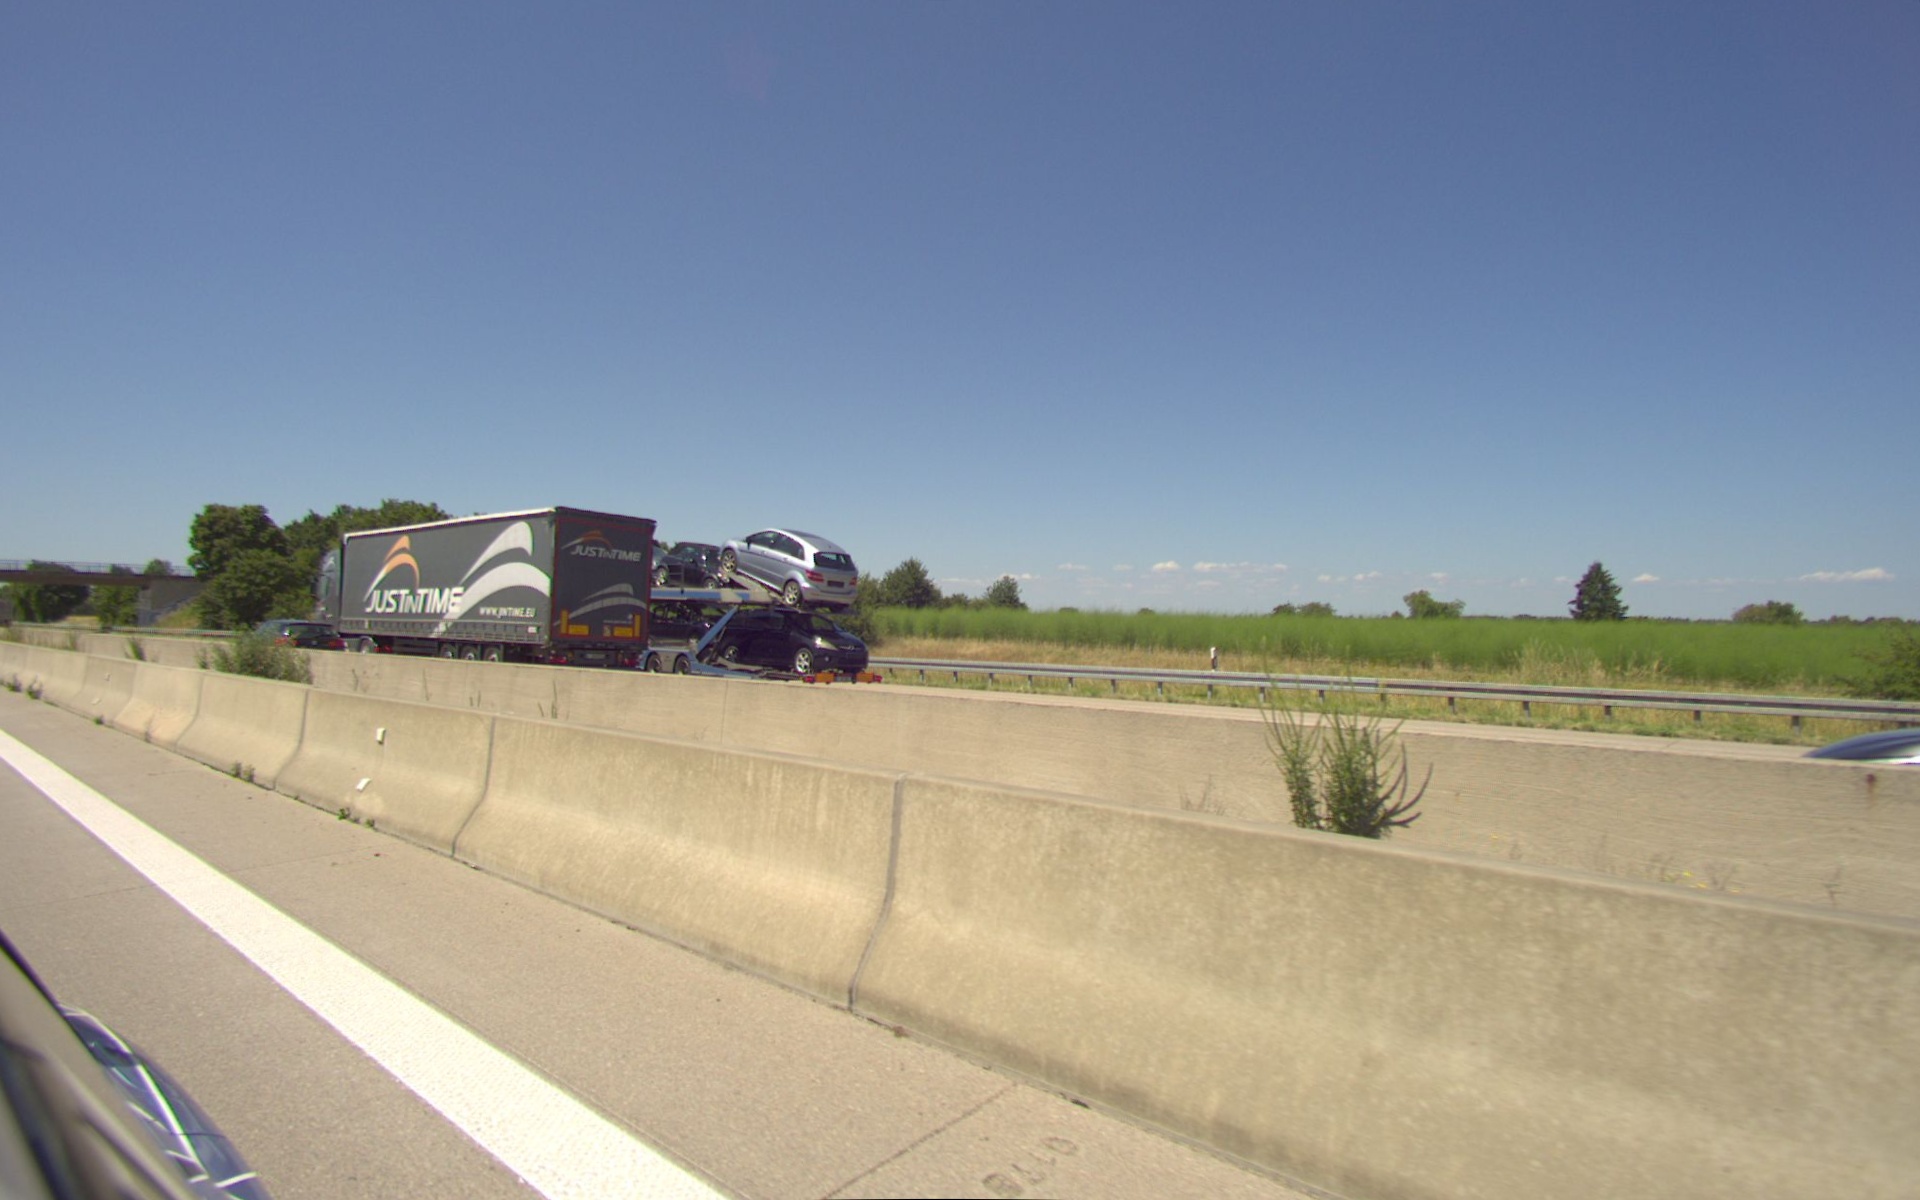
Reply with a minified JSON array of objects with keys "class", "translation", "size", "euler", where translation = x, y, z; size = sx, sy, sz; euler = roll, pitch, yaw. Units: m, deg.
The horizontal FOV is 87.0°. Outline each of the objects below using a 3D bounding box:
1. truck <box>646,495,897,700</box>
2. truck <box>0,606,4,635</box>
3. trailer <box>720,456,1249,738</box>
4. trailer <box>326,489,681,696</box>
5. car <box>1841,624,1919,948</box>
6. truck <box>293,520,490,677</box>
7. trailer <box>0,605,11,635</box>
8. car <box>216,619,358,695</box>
[{"class":"truck","translation":[-4.976,-0.038,26.188],"size":[6.247,4.641,3.198],"euler":[-1,0,41]},{"class":"truck","translation":[-142.019,2.936,147.691],"size":[6.462,4.121,2.950],"euler":[-1,-4,41]},{"class":"trailer","translation":[-0.220,0.007,21.960],"size":[12.288,4.641,3.198],"euler":[-1,0,41]},{"class":"trailer","translation":[-13.283,-0.036,28.099],"size":[14.444,4.510,3.233],"euler":[-1,-3,41]},{"class":"car","translation":[7.365,0.971,4.632],"size":[4.928,1.663,1.886],"euler":[-1,0,40]},{"class":"truck","translation":[-18.405,0.045,32.564],"size":[7.186,4.510,3.233],"euler":[-1,-3,41]},{"class":"trailer","translation":[-137.946,2.841,144.072],"size":[11.600,4.121,2.950],"euler":[-1,-4,41]},{"class":"car","translation":[-17.912,1.421,26.848],"size":[4.741,1.796,1.973],"euler":[-1,0,41]}]
